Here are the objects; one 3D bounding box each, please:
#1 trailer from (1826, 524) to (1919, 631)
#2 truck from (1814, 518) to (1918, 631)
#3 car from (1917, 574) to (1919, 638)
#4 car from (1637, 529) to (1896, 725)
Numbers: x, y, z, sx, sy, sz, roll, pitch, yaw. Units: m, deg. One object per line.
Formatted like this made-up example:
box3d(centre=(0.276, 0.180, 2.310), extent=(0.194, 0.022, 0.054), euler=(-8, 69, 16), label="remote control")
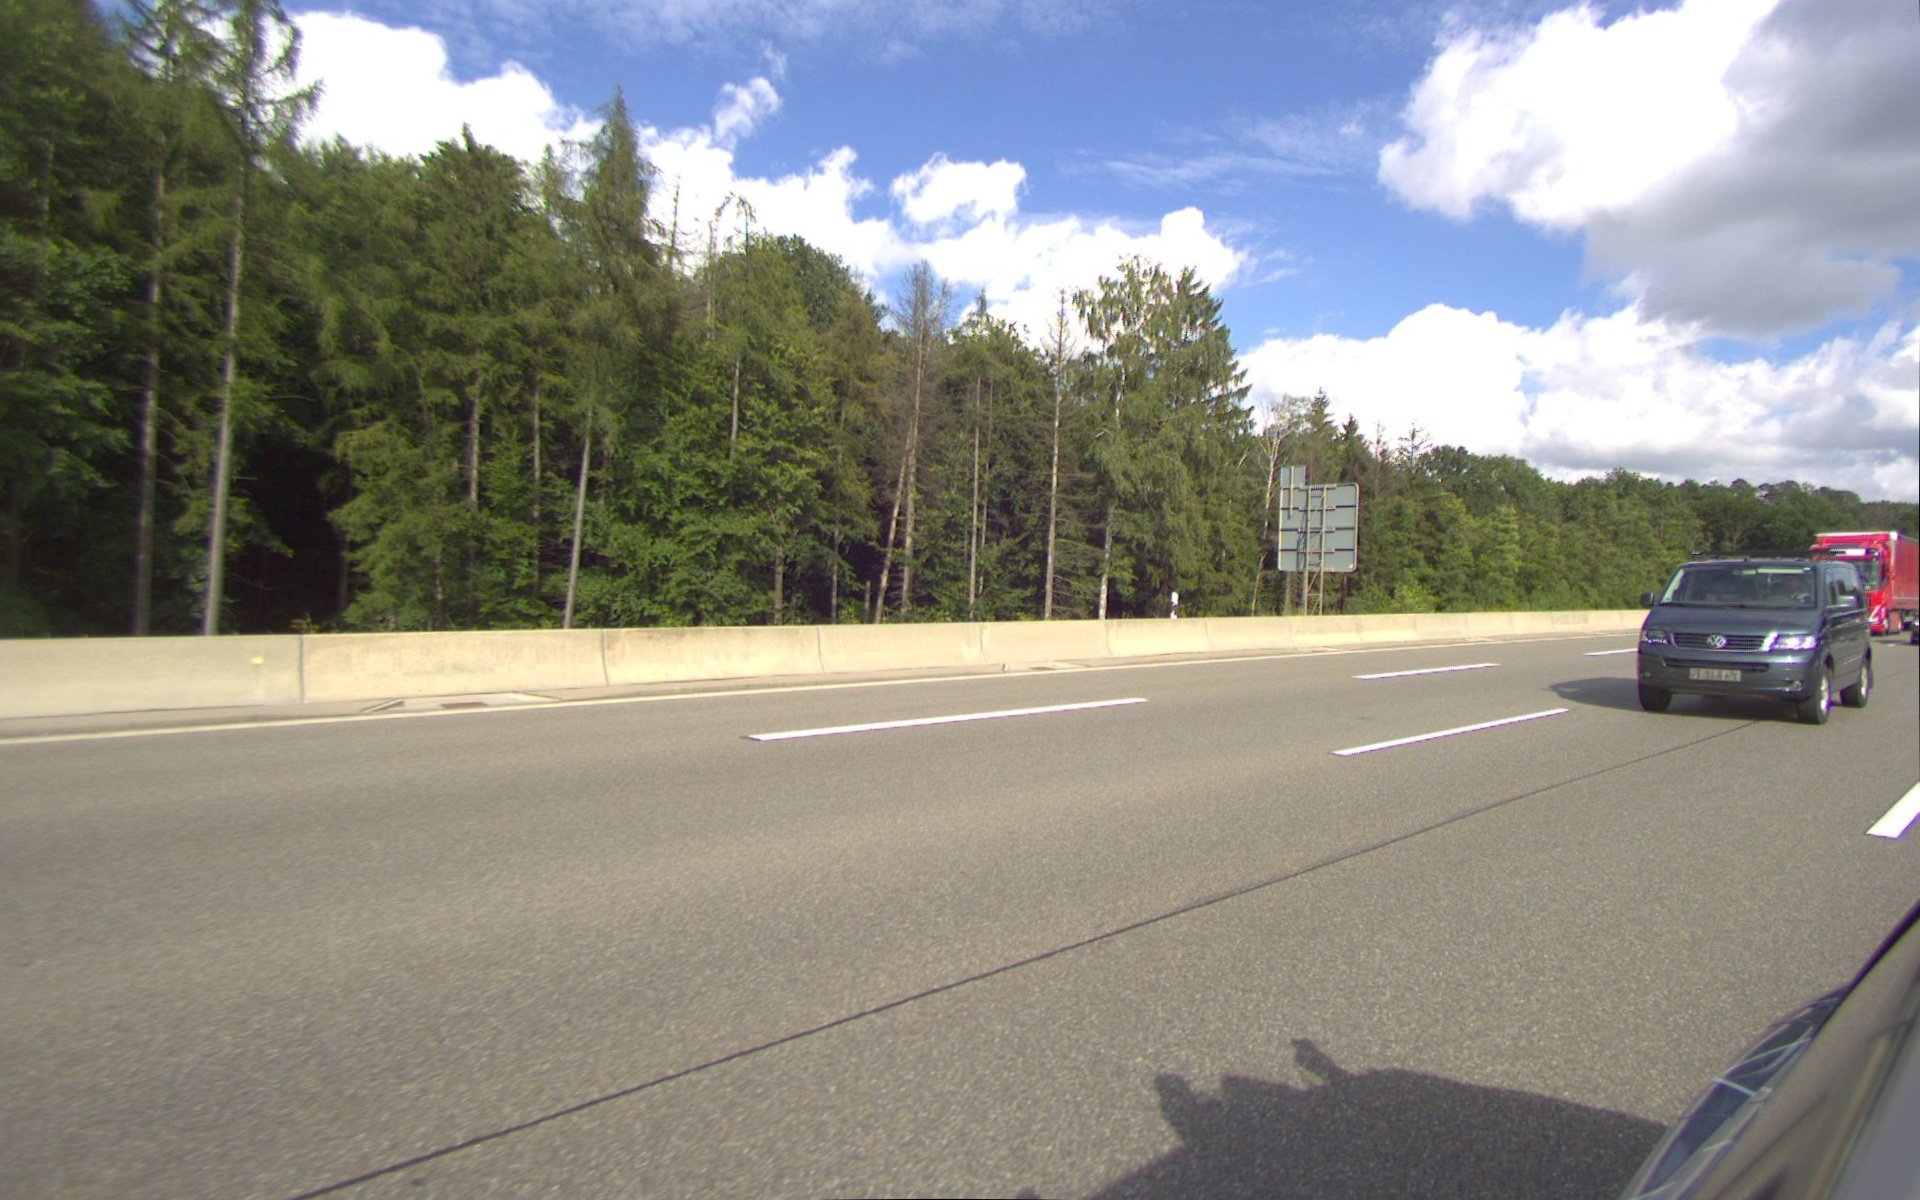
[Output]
box3d(centre=(41.565, -0.997, 45.149), extent=(14.129, 4.171, 2.529), euler=(-1, 1, -41), label="trailer")
box3d(centre=(36.379, -1.002, 40.620), extent=(4.572, 4.255, 2.530), euler=(-1, 1, -41), label="truck")
box3d(centre=(32.472, 0.205, 32.528), extent=(3.928, 2.039, 1.998), euler=(0, 1, -40), label="car")
box3d(centre=(10.970, 0.275, 13.621), extent=(4.875, 2.192, 1.925), euler=(0, 1, -42), label="car")
